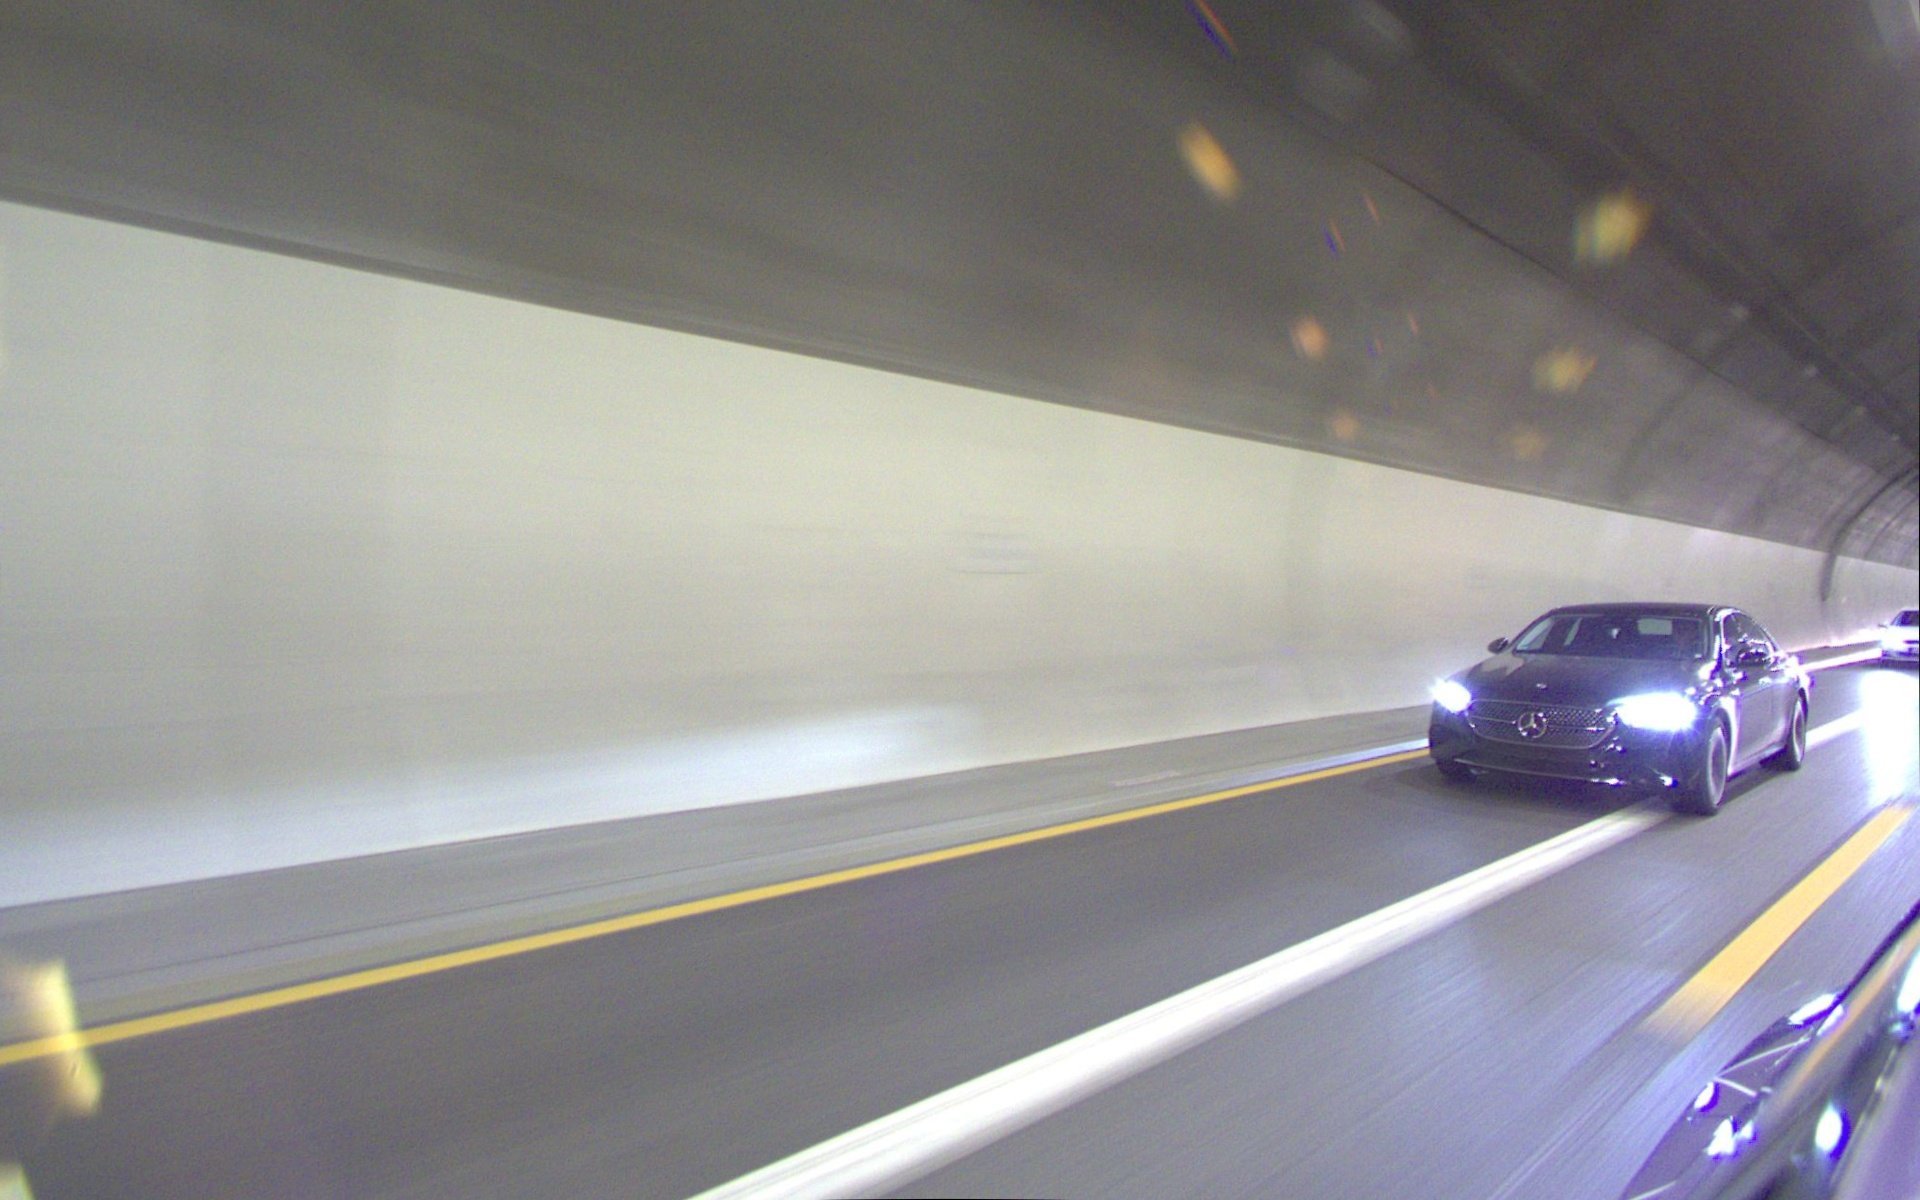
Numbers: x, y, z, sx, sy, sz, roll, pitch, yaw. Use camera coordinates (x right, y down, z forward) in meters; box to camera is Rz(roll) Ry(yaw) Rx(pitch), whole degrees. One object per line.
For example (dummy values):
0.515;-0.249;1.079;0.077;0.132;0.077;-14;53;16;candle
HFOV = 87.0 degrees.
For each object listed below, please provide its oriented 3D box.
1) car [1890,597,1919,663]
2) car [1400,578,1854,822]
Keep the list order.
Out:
23.527;0.698;23.828;3.961;1.479;1.802;0;1;-39;car
5.904;0.606;8.683;4.867;1.490;1.930;0;2;-40;car
